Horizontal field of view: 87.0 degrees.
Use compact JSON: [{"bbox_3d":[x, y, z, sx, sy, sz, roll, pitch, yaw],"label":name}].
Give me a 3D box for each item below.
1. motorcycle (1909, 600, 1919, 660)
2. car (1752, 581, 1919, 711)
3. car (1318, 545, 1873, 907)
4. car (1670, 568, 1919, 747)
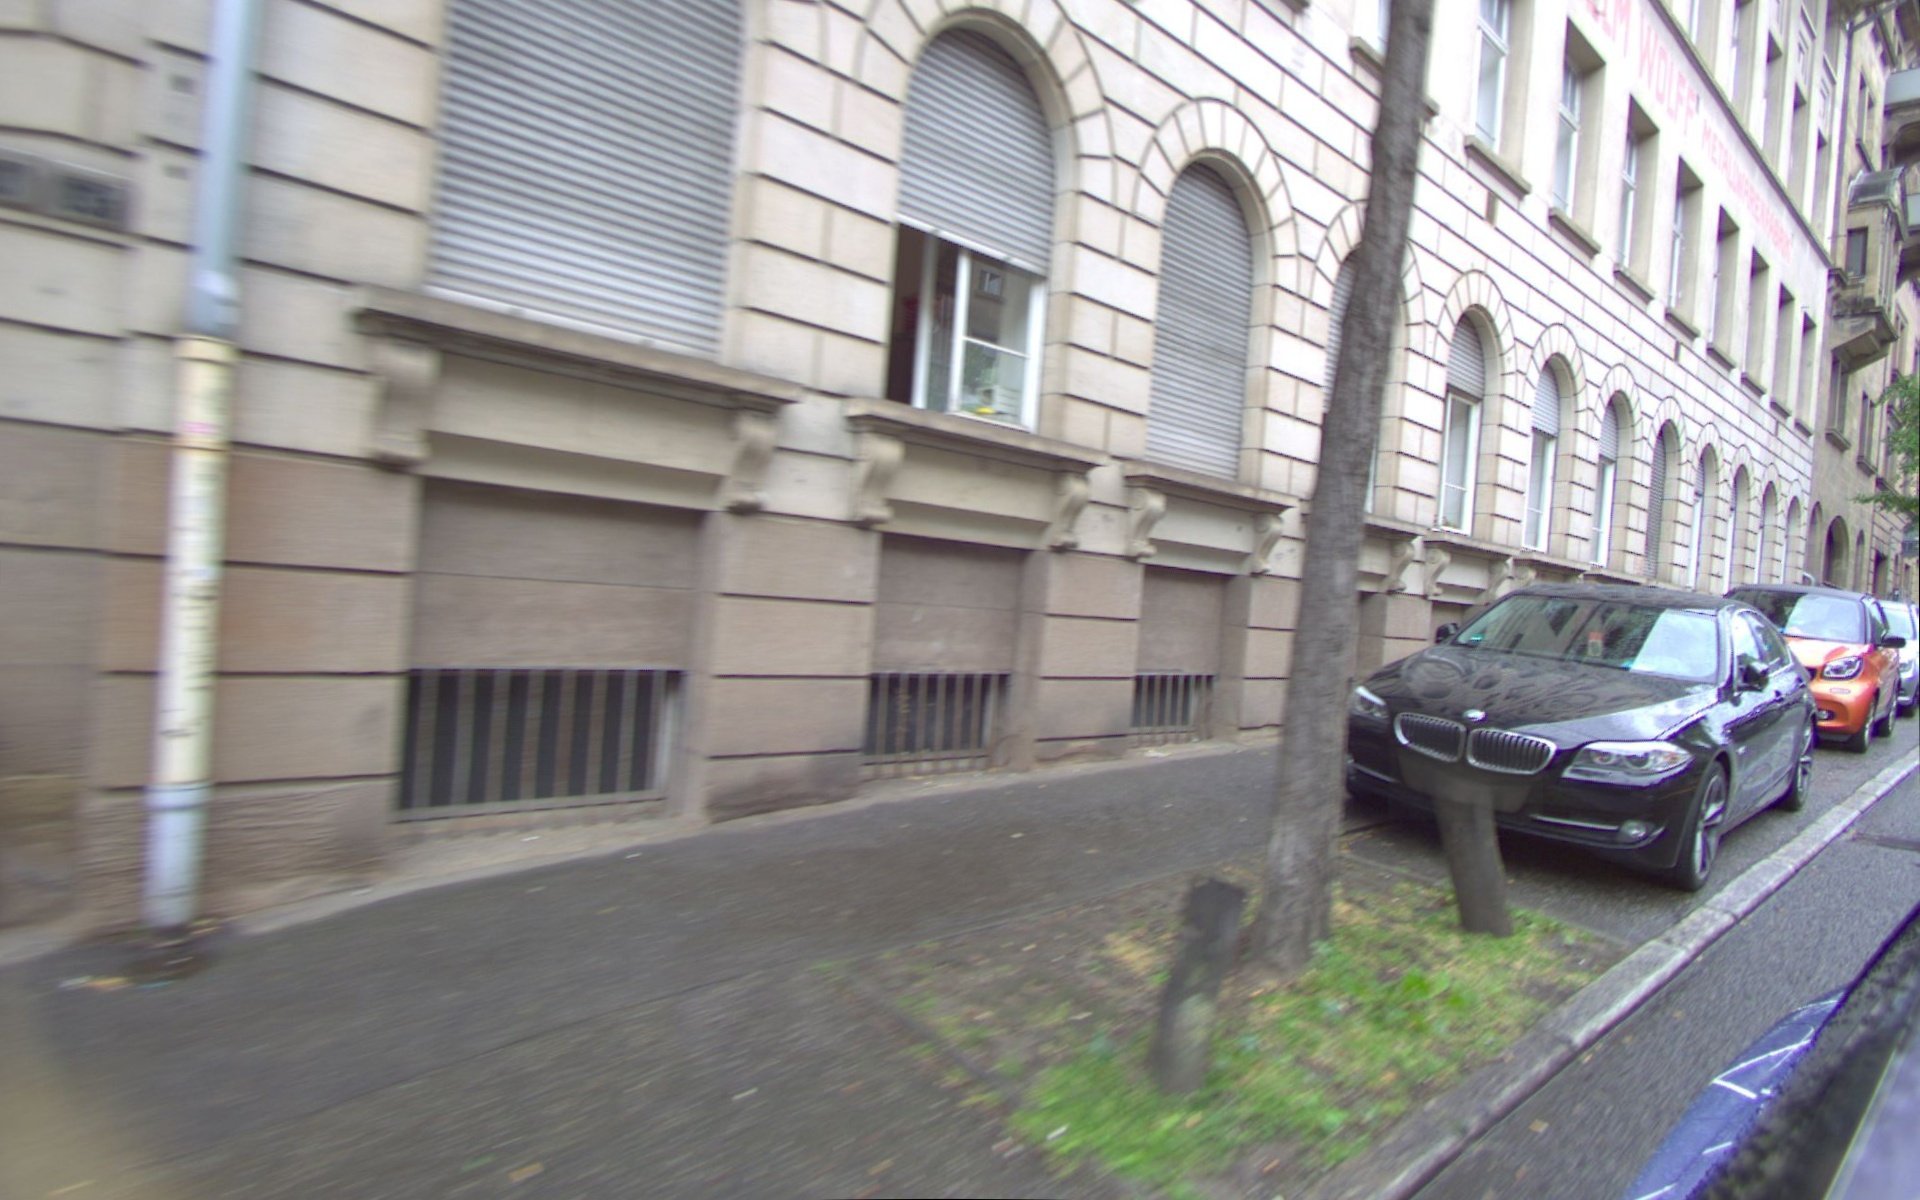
[{"bbox_3d":[20.918,0.711,20.787,1.910,1.250,0.655,5,2,14],"label":"motorcycle"},{"bbox_3d":[12.752,0.553,14.249,4.346,1.448,1.699,0,5,-42],"label":"car"},{"bbox_3d":[4.378,0.524,6.600,4.642,1.478,1.762,0,5,-42],"label":"car"},{"bbox_3d":[9.162,0.515,10.951,3.128,1.538,1.642,0,5,-42],"label":"car"}]
